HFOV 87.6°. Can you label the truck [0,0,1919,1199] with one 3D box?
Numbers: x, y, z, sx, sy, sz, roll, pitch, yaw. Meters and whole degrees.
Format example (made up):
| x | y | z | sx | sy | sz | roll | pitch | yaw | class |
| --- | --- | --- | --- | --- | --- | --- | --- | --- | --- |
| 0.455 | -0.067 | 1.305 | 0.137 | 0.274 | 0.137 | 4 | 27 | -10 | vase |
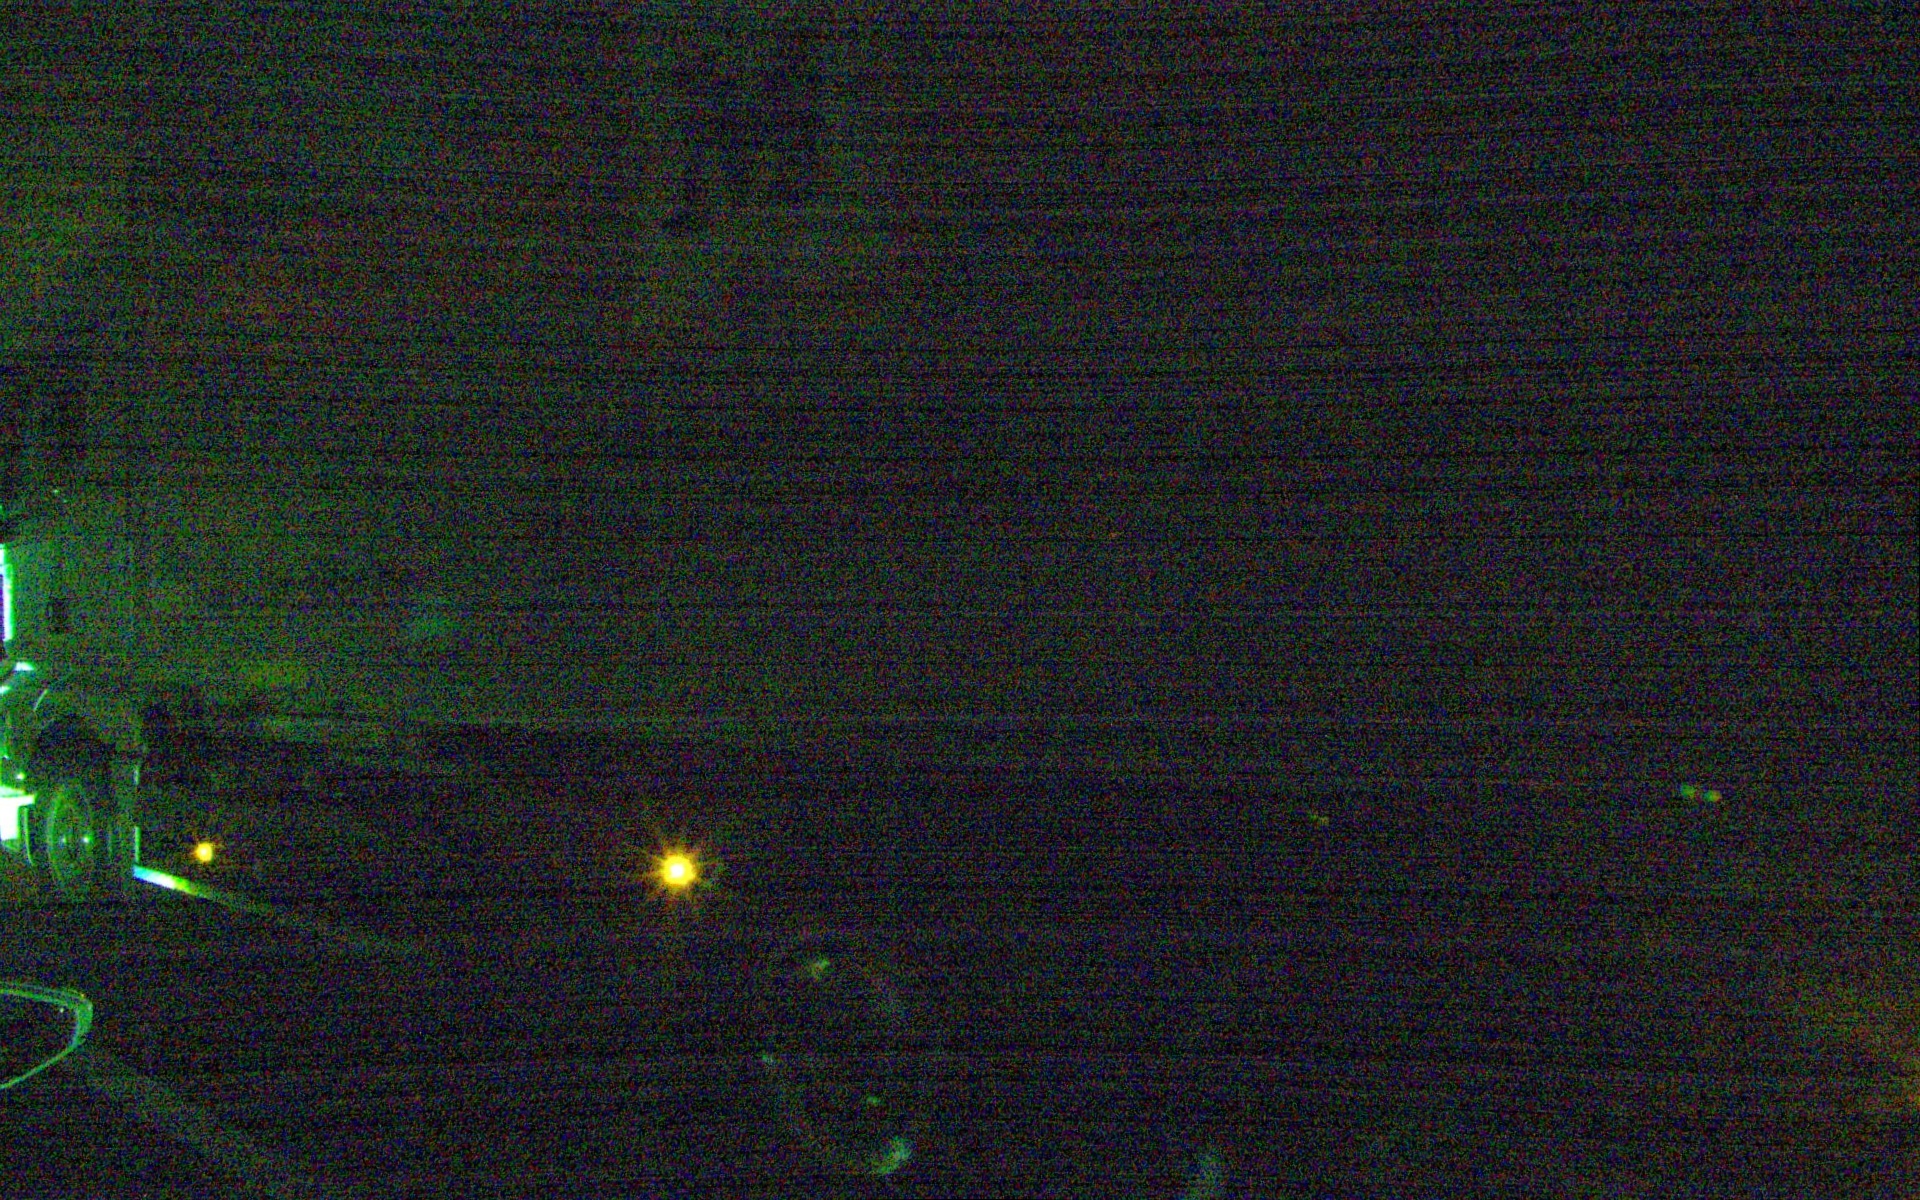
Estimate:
| x | y | z | sx | sy | sz | roll | pitch | yaw | class |
| --- | --- | --- | --- | --- | --- | --- | --- | --- | --- |
| -0.678 | -0.441 | 3.994 | 9.763 | 3.964 | 2.885 | 0 | -1 | 31 | truck |
